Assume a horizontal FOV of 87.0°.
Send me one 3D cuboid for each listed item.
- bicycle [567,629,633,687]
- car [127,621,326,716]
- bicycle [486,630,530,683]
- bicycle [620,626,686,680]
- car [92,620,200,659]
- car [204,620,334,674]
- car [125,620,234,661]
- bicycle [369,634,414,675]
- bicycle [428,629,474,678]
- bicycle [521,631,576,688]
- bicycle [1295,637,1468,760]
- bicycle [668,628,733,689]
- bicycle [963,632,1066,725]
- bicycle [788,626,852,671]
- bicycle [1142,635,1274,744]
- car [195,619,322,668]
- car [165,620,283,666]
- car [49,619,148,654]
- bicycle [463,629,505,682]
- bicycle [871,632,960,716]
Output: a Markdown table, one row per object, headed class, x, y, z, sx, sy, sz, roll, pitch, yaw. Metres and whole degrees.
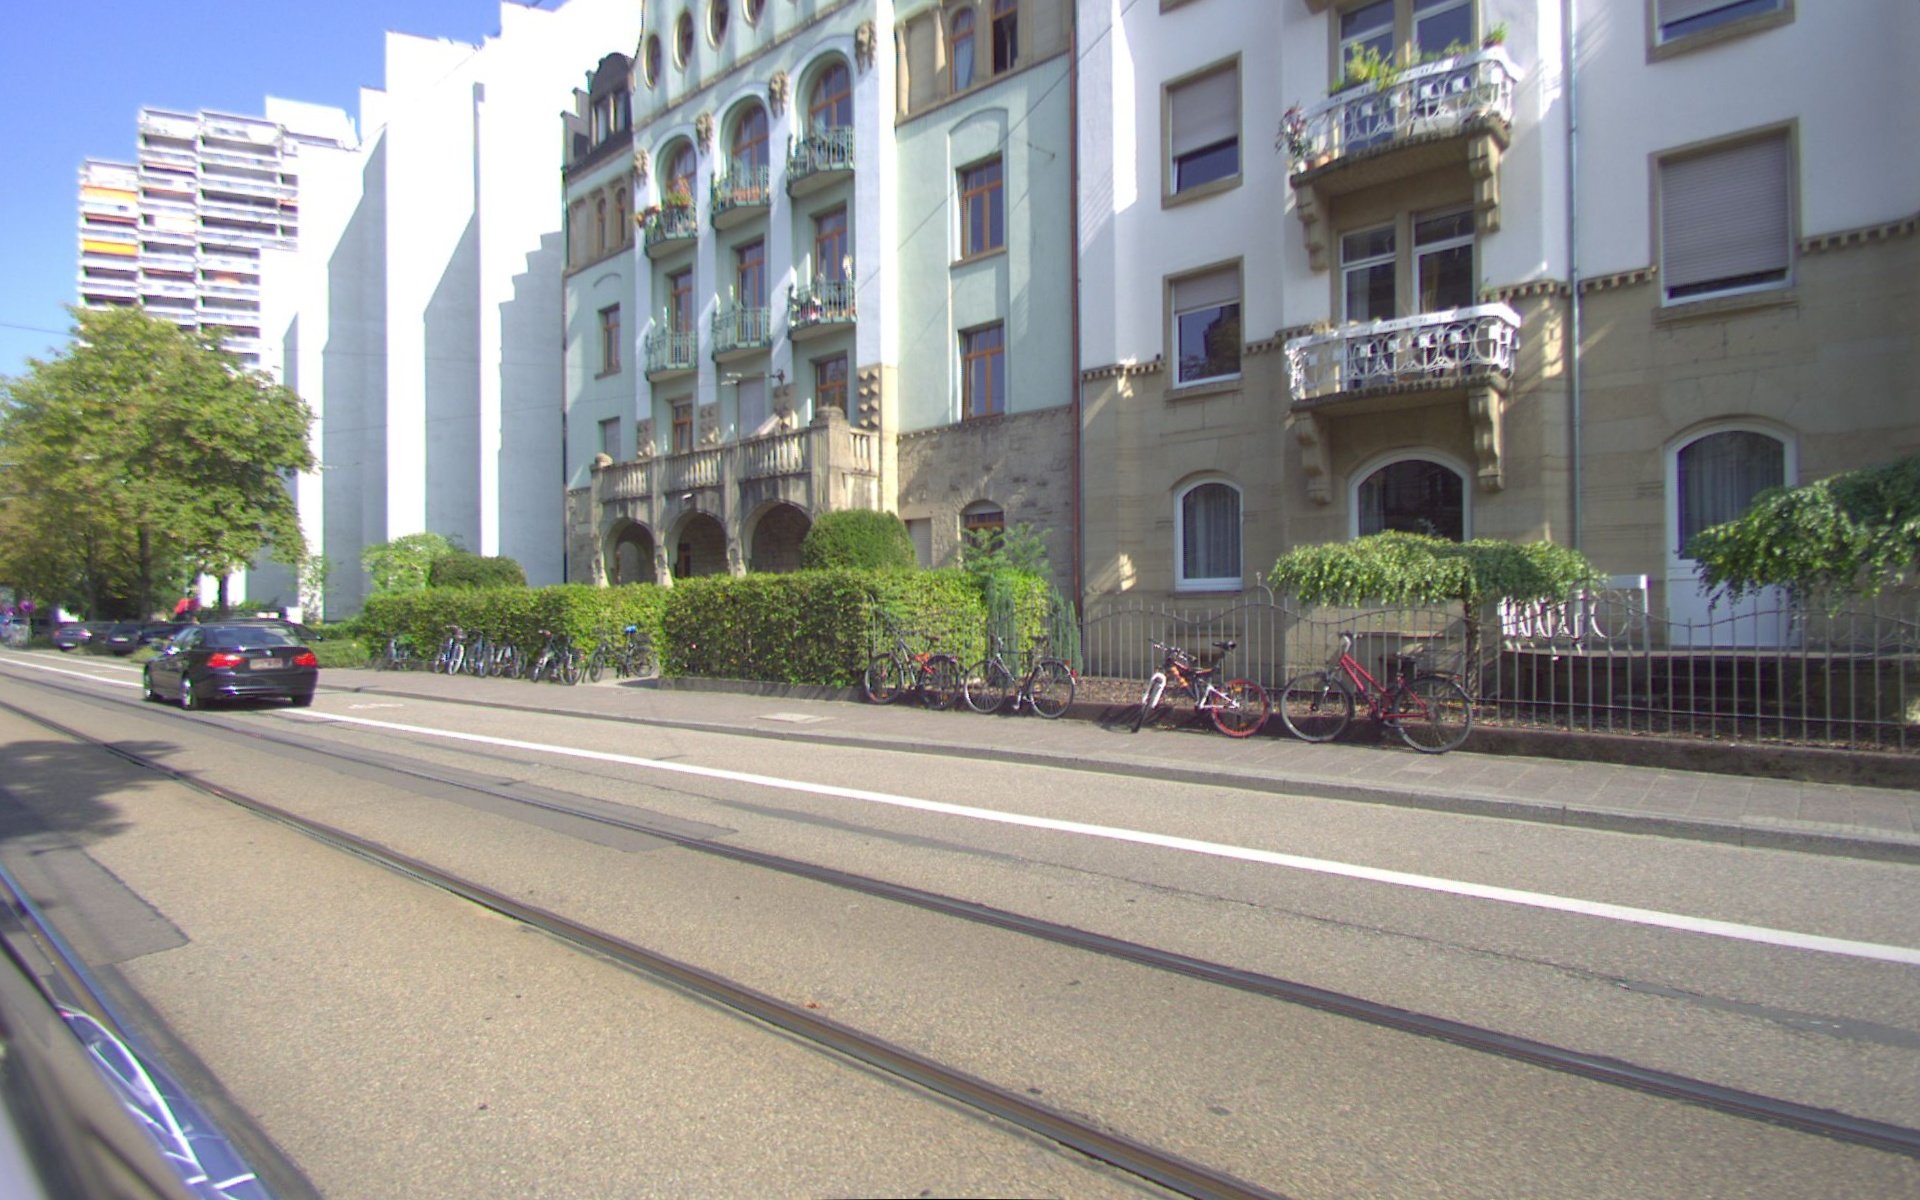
| class | x | y | z | sx | sy | sz | roll | pitch | yaw |
| --- | --- | --- | --- | --- | --- | --- | --- | --- | --- |
| bicycle | -7.161 | 1.143 | 20.210 | 0.423 | 1.096 | 1.385 | -1 | -1 | 23 |
| car | -12.717 | 1.093 | 17.434 | 4.642 | 1.413 | 1.679 | -1 | -2 | 40 |
| bicycle | -9.796 | 1.202 | 21.898 | 0.419 | 1.096 | 1.679 | 1 | -1 | -40 |
| bicycle | -6.487 | 1.099 | 21.419 | 0.425 | 1.096 | 1.337 | -1 | -1 | 39 |
| car | -34.081 | 1.606 | 42.522 | 1.744 | 1.539 | 4.007 | 0 | -1 | -8 |
| car | -21.310 | 1.409 | 31.392 | 1.744 | 1.539 | 4.007 | 0 | -1 | -8 |
| car | -31.568 | 1.594 | 41.072 | 1.744 | 1.539 | 4.007 | 0 | -1 | -8 |
| bicycle | -14.520 | 1.374 | 25.833 | 1.769 | 0.985 | 0.420 | -1 | -1 | 40 |
| bicycle | -11.937 | 1.230 | 23.732 | 1.676 | 1.096 | 0.420 | -1 | -1 | 43 |
| bicycle | -8.315 | 1.185 | 20.406 | 0.419 | 1.096 | 1.677 | 1 | -2 | -45 |
| bicycle | 4.029 | 0.910 | 9.750 | 1.487 | 1.096 | 0.366 | -1 | -1 | 41 |
| bicycle | -4.891 | 1.080 | 19.143 | 0.424 | 1.096 | 1.342 | -1 | -1 | 27 |
| bicycle | 0.671 | 0.965 | 12.793 | 1.354 | 1.096 | 0.366 | -1 | -1 | 41 |
| bicycle | -3.032 | 1.046 | 21.940 | 1.332 | 0.956 | 0.427 | 0 | -1 | -16 |
| bicycle | 2.637 | 0.928 | 10.851 | 1.354 | 1.096 | 0.366 | -1 | -1 | 41 |
| car | -23.713 | 1.431 | 34.407 | 1.746 | 1.539 | 4.003 | 0 | -1 | -3 |
| car | -26.075 | 1.474 | 36.017 | 1.744 | 1.539 | 4.007 | 0 | -1 | -8 |
| car | -40.895 | 1.703 | 48.164 | 1.744 | 1.539 | 4.007 | 0 | -1 | -8 |
| bicycle | -10.503 | 1.202 | 22.318 | 0.419 | 1.096 | 1.679 | 1 | -1 | -40 |
| bicycle | -0.629 | 1.002 | 13.996 | 1.354 | 1.096 | 0.366 | -1 | -1 | 41 |
